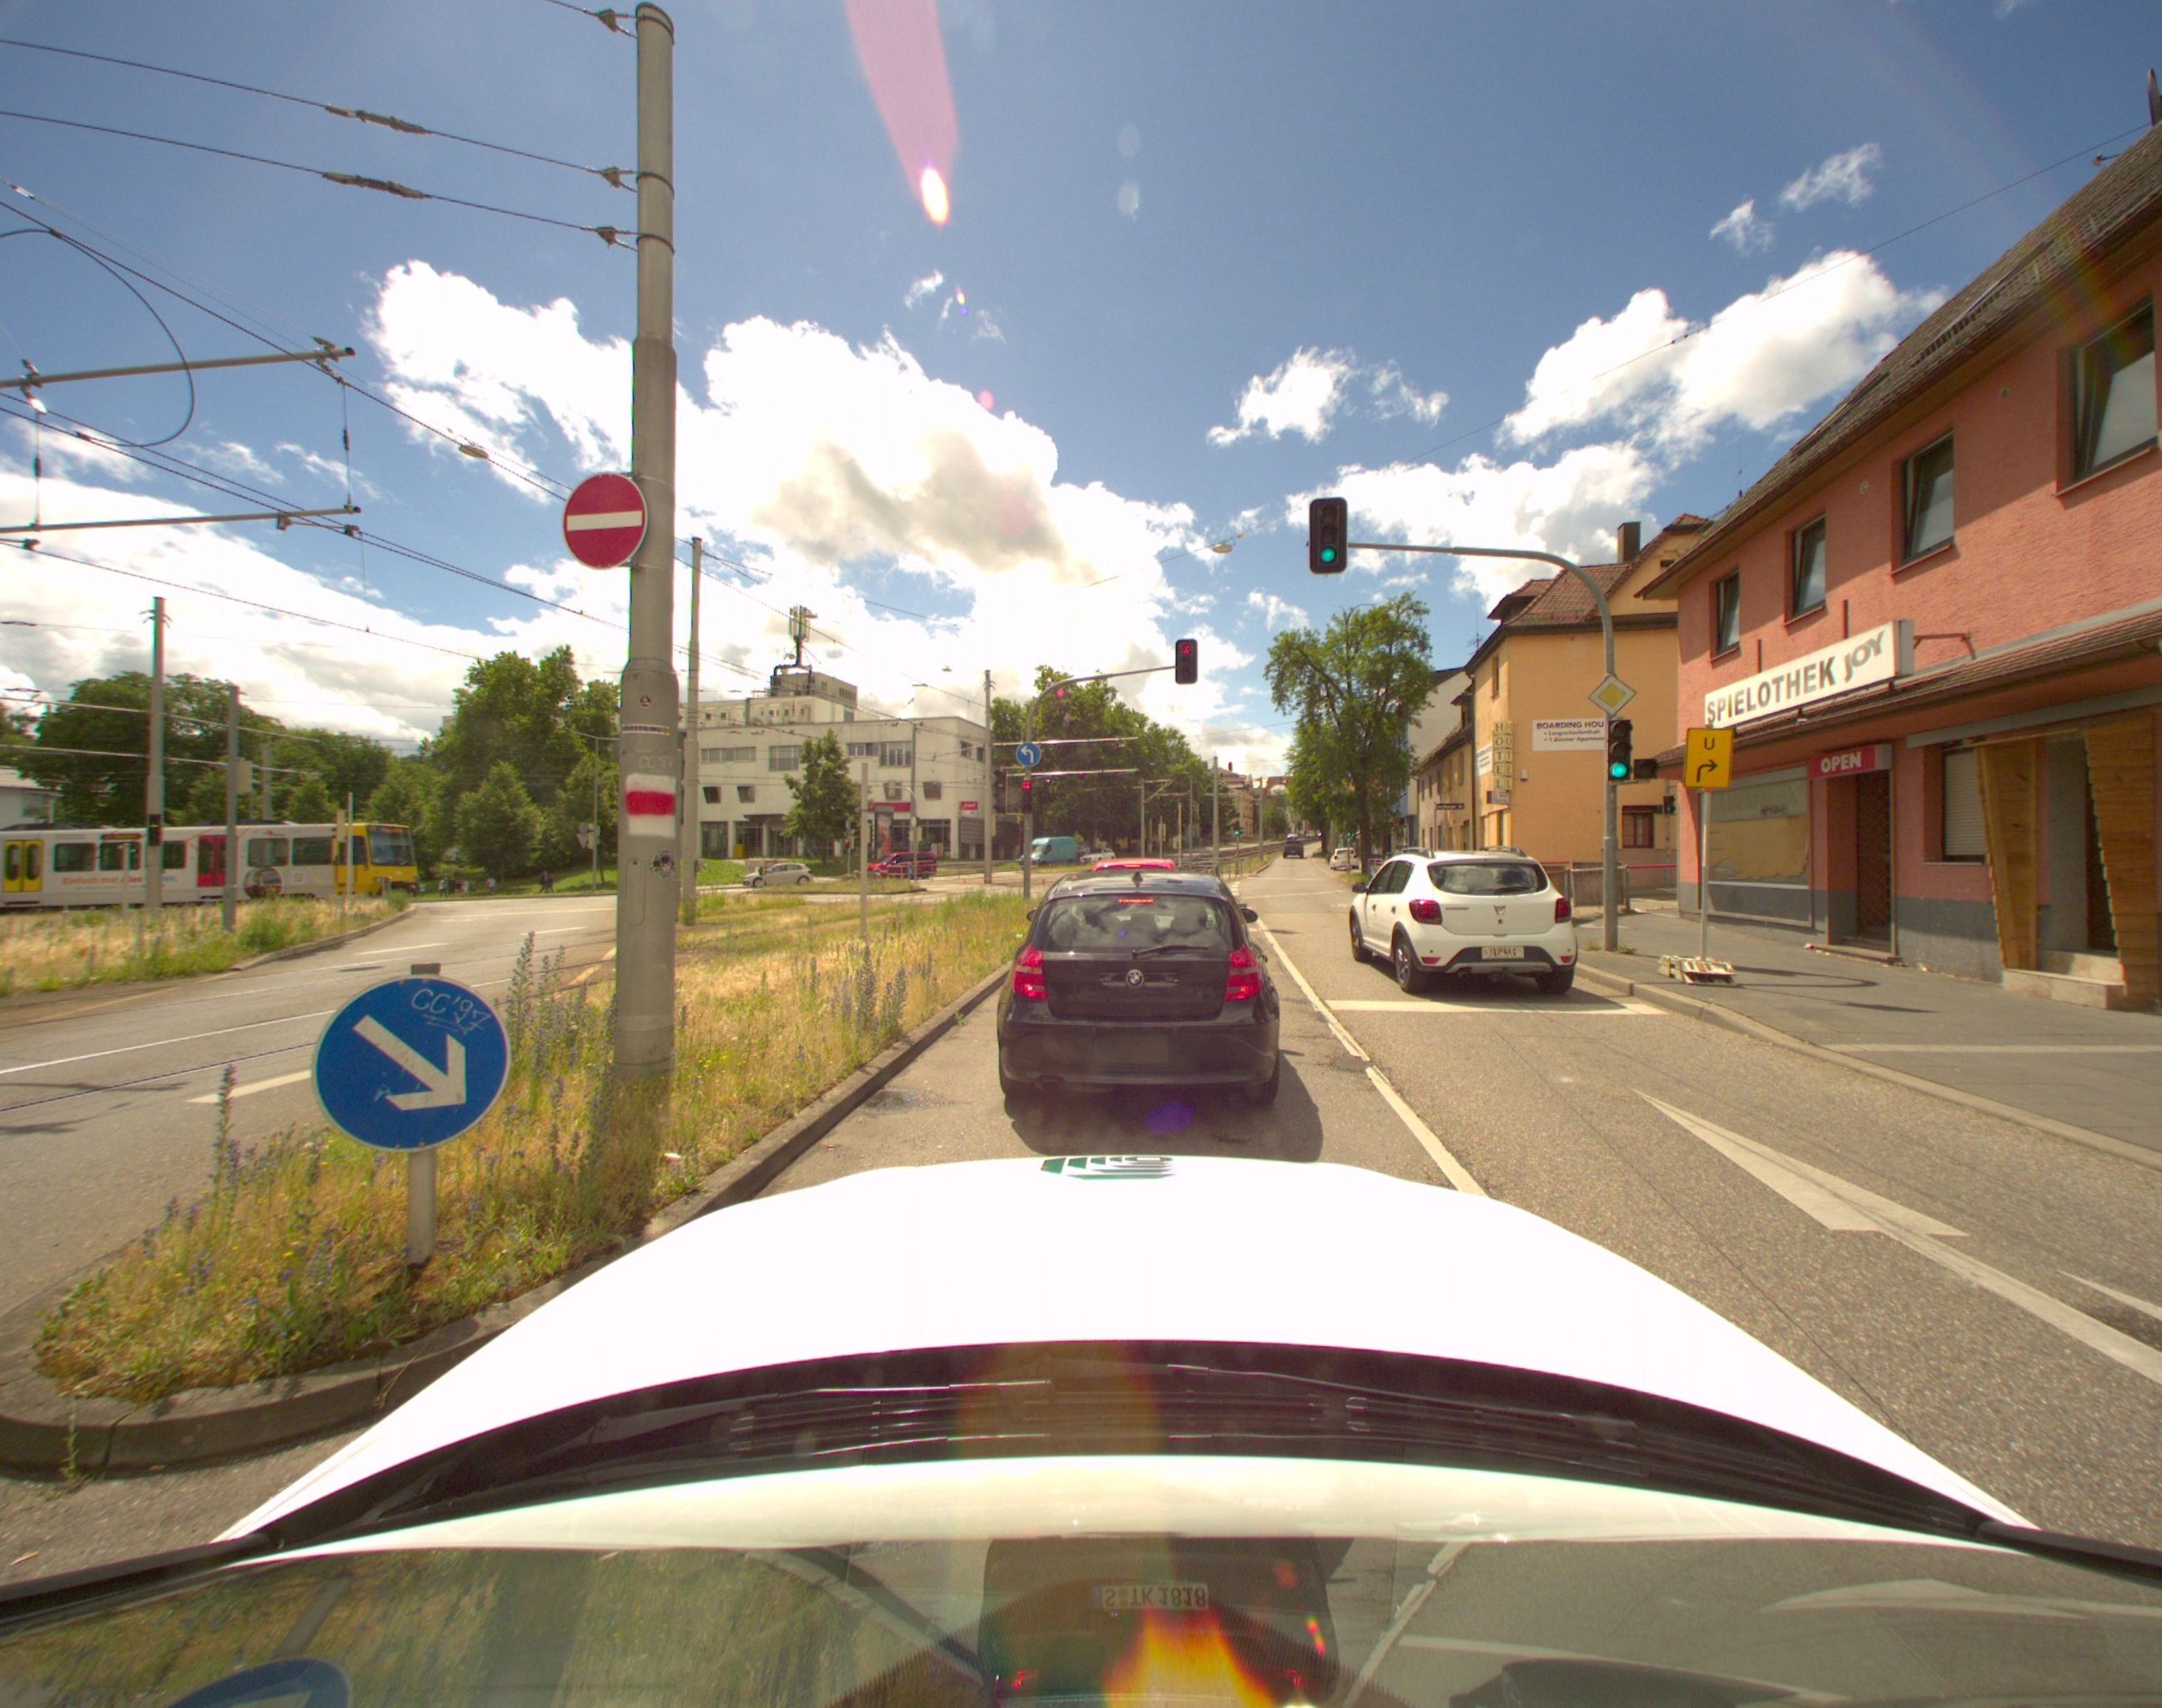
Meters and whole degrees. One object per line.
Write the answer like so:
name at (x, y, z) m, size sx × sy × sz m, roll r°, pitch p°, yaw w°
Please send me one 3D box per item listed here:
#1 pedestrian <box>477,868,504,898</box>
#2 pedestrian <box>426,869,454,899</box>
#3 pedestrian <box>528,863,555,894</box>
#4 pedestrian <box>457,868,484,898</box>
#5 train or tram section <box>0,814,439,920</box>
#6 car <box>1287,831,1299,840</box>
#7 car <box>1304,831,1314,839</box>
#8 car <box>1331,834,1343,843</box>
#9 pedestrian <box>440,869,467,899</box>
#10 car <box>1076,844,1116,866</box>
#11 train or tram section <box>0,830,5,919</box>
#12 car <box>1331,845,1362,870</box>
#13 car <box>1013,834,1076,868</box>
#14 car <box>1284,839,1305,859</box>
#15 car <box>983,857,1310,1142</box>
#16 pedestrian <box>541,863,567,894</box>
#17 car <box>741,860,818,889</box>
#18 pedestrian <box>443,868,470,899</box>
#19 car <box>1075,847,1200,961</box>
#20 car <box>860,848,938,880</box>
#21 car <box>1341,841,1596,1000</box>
pedestrian at (-39.155, 1.911, 54.010) m, size 1.097 × 1.969 × 0.865 m, roll -2°, pitch -1°, yaw 4°
pedestrian at (-42.805, 1.998, 54.394) m, size 1.097 × 1.969 × 0.865 m, roll -2°, pitch -1°, yaw 4°
pedestrian at (-34.801, 1.589, 52.568) m, size 1.097 × 1.969 × 0.865 m, roll -2°, pitch -1°, yaw 4°
pedestrian at (-40.958, 1.963, 54.661) m, size 1.097 × 1.969 × 0.865 m, roll -2°, pitch -1°, yaw 4°
train or tram section at (-38.689, 0.600, 34.083) m, size 19.940 × 3.814 × 3.757 m, roll -2°, pitch -1°, yaw -3°
car at (48.675, -4.237, 186.908) m, size 1.976 × 2.014 × 4.022 m, roll -2°, pitch -1°, yaw 23°
car at (57.714, -4.776, 206.011) m, size 1.976 × 2.014 × 4.022 m, roll -2°, pitch -1°, yaw 23°
car at (51.509, -3.077, 164.000) m, size 1.977 × 1.662 × 4.020 m, roll -2°, pitch -1°, yaw 20°
pedestrian at (-42.673, 2.011, 55.400) m, size 1.097 × 1.969 × 0.865 m, roll -2°, pitch -1°, yaw 4°
car at (1.367, 0.106, 73.197) m, size 1.836 × 1.928 × 4.824 m, roll -2°, pitch -1°, yaw 24°
train or tram section at (-57.501, 1.181, 35.671) m, size 20.435 × 3.879 × 3.773 m, roll -2°, pitch -1°, yaw 11°
car at (18.108, 0.222, 55.750) m, size 1.774 × 1.596 × 4.016 m, roll -2°, pitch -1°, yaw 15°
car at (-2.920, -0.227, 66.469) m, size 2.110 × 2.654 × 5.726 m, roll -2°, pitch -1°, yaw 33°
car at (21.798, -0.445, 83.268) m, size 1.984 × 1.887 × 5.170 m, roll -2°, pitch -1°, yaw 15°
car at (0.338, 0.797, 6.316) m, size 1.696 × 1.452 × 3.999 m, roll -2°, pitch -1°, yaw 0°
pedestrian at (-34.643, 1.602, 53.563) m, size 1.097 × 1.969 × 0.865 m, roll -2°, pitch -1°, yaw 4°
car at (-18.403, 1.236, 49.697) m, size 4.182 × 1.585 × 1.841 m, roll -1°, pitch -1°, yaw -30°
pedestrian at (-41.072, 1.948, 53.594) m, size 1.097 × 1.969 × 0.865 m, roll -2°, pitch -1°, yaw 4°
car at (1.028, 0.692, 12.829) m, size 1.616 × 1.473 × 4.009 m, roll -2°, pitch -1°, yaw 8°
car at (-12.111, 0.676, 54.448) m, size 4.825 × 2.009 × 1.836 m, roll -1°, pitch -1°, yaw -44°
car at (4.447, 0.666, 10.000) m, size 1.705 × 1.550 × 3.801 m, roll -2°, pitch 0°, yaw 7°
